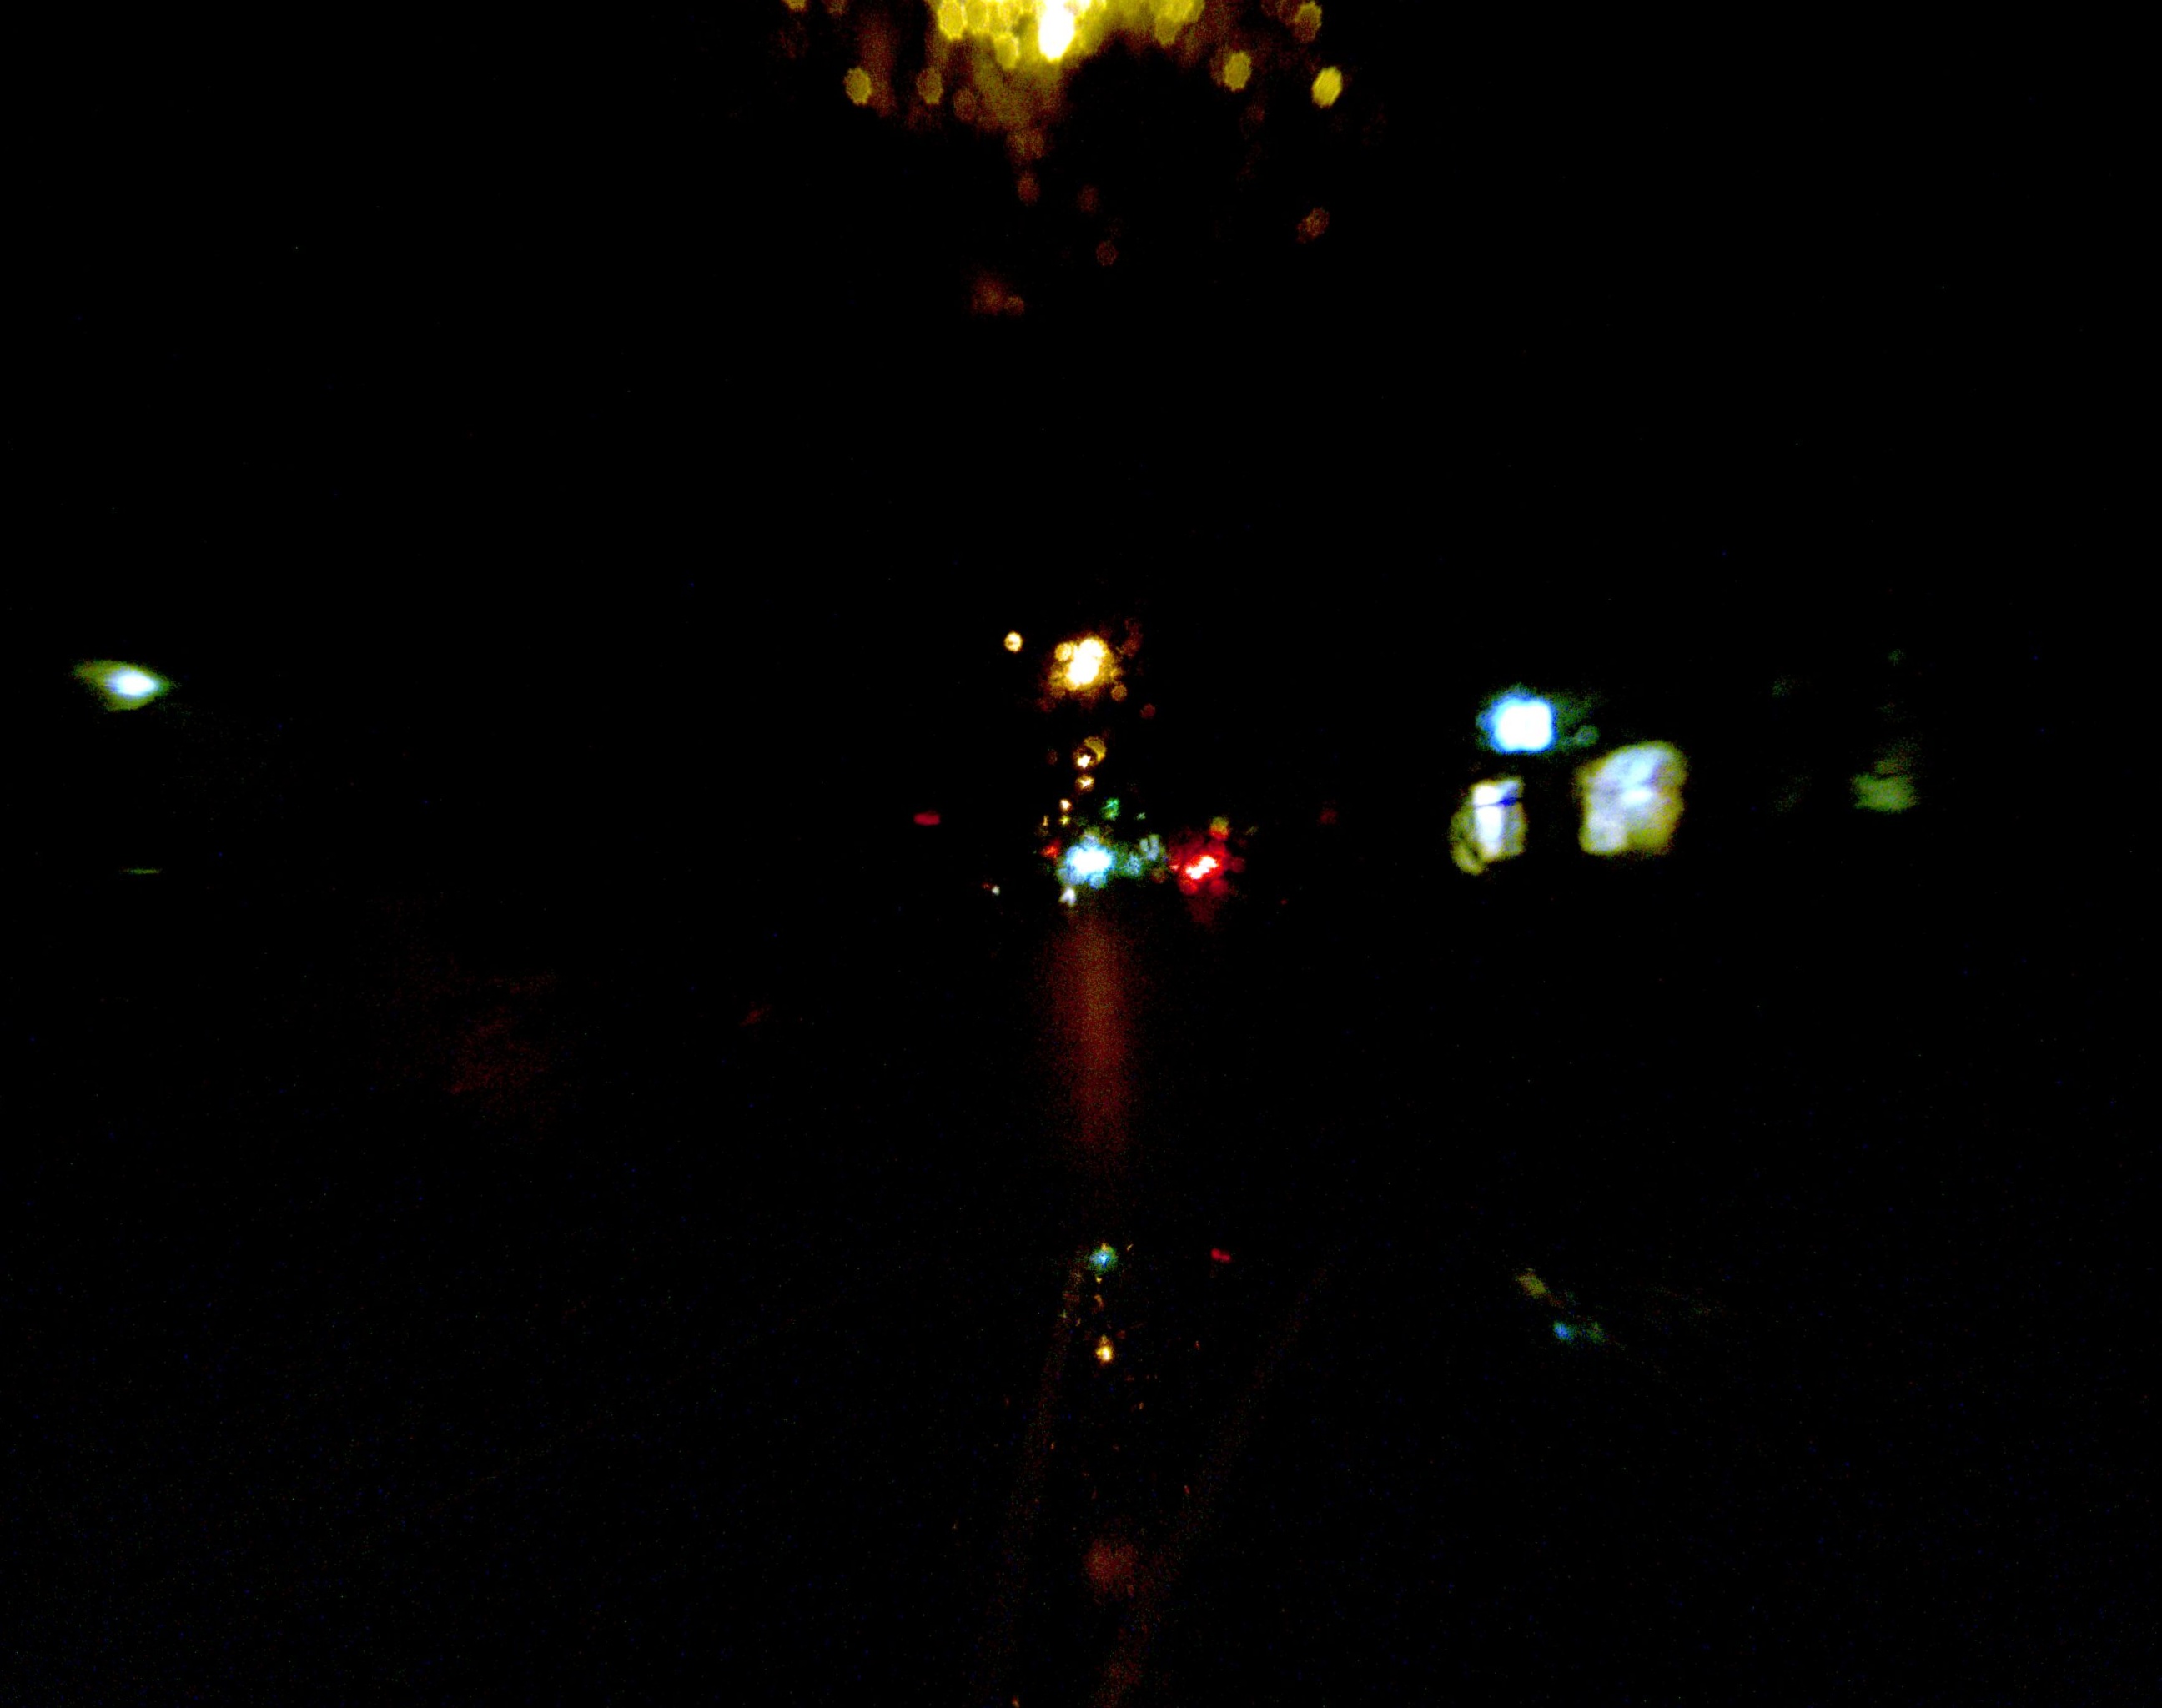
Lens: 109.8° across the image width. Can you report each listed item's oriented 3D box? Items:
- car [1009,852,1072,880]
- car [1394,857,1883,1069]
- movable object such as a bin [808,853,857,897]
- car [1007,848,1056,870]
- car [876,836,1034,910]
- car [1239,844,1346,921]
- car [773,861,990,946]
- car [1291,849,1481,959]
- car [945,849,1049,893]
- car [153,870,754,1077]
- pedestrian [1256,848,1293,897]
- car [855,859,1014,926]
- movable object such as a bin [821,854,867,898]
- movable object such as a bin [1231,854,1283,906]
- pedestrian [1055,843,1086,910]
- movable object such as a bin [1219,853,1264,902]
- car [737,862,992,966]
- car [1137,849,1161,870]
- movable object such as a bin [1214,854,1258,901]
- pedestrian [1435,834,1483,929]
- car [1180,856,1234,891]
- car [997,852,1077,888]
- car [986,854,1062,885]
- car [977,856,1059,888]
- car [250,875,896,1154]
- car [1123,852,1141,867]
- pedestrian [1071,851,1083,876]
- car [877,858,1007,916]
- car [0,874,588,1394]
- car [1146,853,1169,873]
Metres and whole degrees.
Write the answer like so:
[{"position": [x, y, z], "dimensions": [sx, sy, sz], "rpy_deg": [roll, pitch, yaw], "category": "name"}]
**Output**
[{"position": [-2.559, 0.756, 48.125], "dimensions": [3.569, 1.601, 1.710], "rpy_deg": [-2, 0, -21], "category": "car"}, {"position": [4.854, 0.787, 7.560], "dimensions": [1.690, 1.447, 4.315], "rpy_deg": [-2, 0, 0], "category": "car"}, {"position": [-8.375, 0.705, 25.646], "dimensions": [1.258, 1.364, 0.998], "rpy_deg": [4, 1, 1], "category": "movable object such as a bin"}, {"position": [-5.401, 0.499, 82.979], "dimensions": [4.951, 2.327, 2.226], "rpy_deg": [0, 0, -34], "category": "car"}, {"position": [-4.081, 0.556, 24.991], "dimensions": [4.734, 2.235, 1.941], "rpy_deg": [0, 1, -35], "category": "car"}, {"position": [5.113, 0.632, 18.812], "dimensions": [1.607, 1.696, 3.721], "rpy_deg": [-1, 0, 0], "category": "car"}, {"position": [-4.178, 0.938, 16.140], "dimensions": [4.008, 1.543, 1.994], "rpy_deg": [0, 1, -37], "category": "car"}, {"position": [4.951, 0.730, 12.974], "dimensions": [1.607, 1.543, 4.025], "rpy_deg": [-2, 0, 0], "category": "car"}, {"position": [-3.728, 0.754, 33.945], "dimensions": [4.256, 1.848, 1.712], "rpy_deg": [1, 1, -35], "category": "car"}, {"position": [-5.408, 0.898, 7.240], "dimensions": [4.007, 1.443, 1.684], "rpy_deg": [1, 1, -31], "category": "car"}, {"position": [7.195, 0.674, 28.300], "dimensions": [1.135, 1.772, 0.788], "rpy_deg": [-1, 1, 1], "category": "pedestrian"}, {"position": [-3.701, 0.920, 19.310], "dimensions": [3.659, 1.533, 1.556], "rpy_deg": [0, 1, -29], "category": "car"}, {"position": [-8.353, 0.748, 26.827], "dimensions": [1.212, 1.442, 0.998], "rpy_deg": [4, 1, 1], "category": "movable object such as a bin"}, {"position": [5.210, 0.754, 22.625], "dimensions": [1.265, 1.451, 1.151], "rpy_deg": [-2, 1, 3], "category": "movable object such as a bin"}, {"position": [-0.323, 0.692, 23.286], "dimensions": [0.645, 2.001, 0.676], "rpy_deg": [1, 0, -30], "category": "pedestrian"}, {"position": [5.004, 0.728, 23.814], "dimensions": [1.167, 1.451, 1.107], "rpy_deg": [-2, 1, 3], "category": "movable object such as a bin"}, {"position": [-3.787, 0.942, 13.536], "dimensions": [4.007, 1.543, 1.800], "rpy_deg": [0, 1, -34], "category": "car"}, {"position": [6.046, 0.491, 68.192], "dimensions": [1.871, 1.835, 4.827], "rpy_deg": [0, 0, 1], "category": "car"}, {"position": [5.094, 0.772, 24.990], "dimensions": [1.211, 1.451, 1.107], "rpy_deg": [-2, 1, 3], "category": "movable object such as a bin"}, {"position": [7.222, 0.522, 14.545], "dimensions": [0.641, 1.771, 0.549], "rpy_deg": [-1, 1, 1], "category": "pedestrian"}, {"position": [5.356, 0.790, 32.756], "dimensions": [1.658, 1.351, 4.222], "rpy_deg": [-1, 0, 1], "category": "car"}, {"position": [-2.332, 0.807, 40.267], "dimensions": [3.808, 1.718, 1.738], "rpy_deg": [-2, 1, -29], "category": "car"}, {"position": [-3.380, 0.897, 45.016], "dimensions": [4.113, 1.754, 1.855], "rpy_deg": [0, 0, -27], "category": "car"}, {"position": [-3.454, 0.966, 41.892], "dimensions": [4.068, 1.601, 1.840], "rpy_deg": [-2, 0, -29], "category": "car"}, {"position": [-3.504, 0.936, 5.894], "dimensions": [3.691, 1.452, 1.600], "rpy_deg": [0, 1, -34], "category": "car"}, {"position": [5.640, 0.590, 83.623], "dimensions": [1.816, 1.660, 4.413], "rpy_deg": [-1, 0, 6], "category": "car"}, {"position": [-0.261, 0.692, 54.852], "dimensions": [0.824, 1.760, 1.177], "rpy_deg": [0, 0, 0], "category": "pedestrian"}, {"position": [-4.038, 0.910, 22.206], "dimensions": [3.407, 1.533, 1.573], "rpy_deg": [0, 1, -35], "category": "car"}, {"position": [-4.159, 0.926, 2.886], "dimensions": [3.659, 1.571, 1.589], "rpy_deg": [-1, 0, -27], "category": "car"}, {"position": [5.893, 0.663, 58.783], "dimensions": [1.550, 1.434, 3.563], "rpy_deg": [-3, 0, 2], "category": "car"}]
